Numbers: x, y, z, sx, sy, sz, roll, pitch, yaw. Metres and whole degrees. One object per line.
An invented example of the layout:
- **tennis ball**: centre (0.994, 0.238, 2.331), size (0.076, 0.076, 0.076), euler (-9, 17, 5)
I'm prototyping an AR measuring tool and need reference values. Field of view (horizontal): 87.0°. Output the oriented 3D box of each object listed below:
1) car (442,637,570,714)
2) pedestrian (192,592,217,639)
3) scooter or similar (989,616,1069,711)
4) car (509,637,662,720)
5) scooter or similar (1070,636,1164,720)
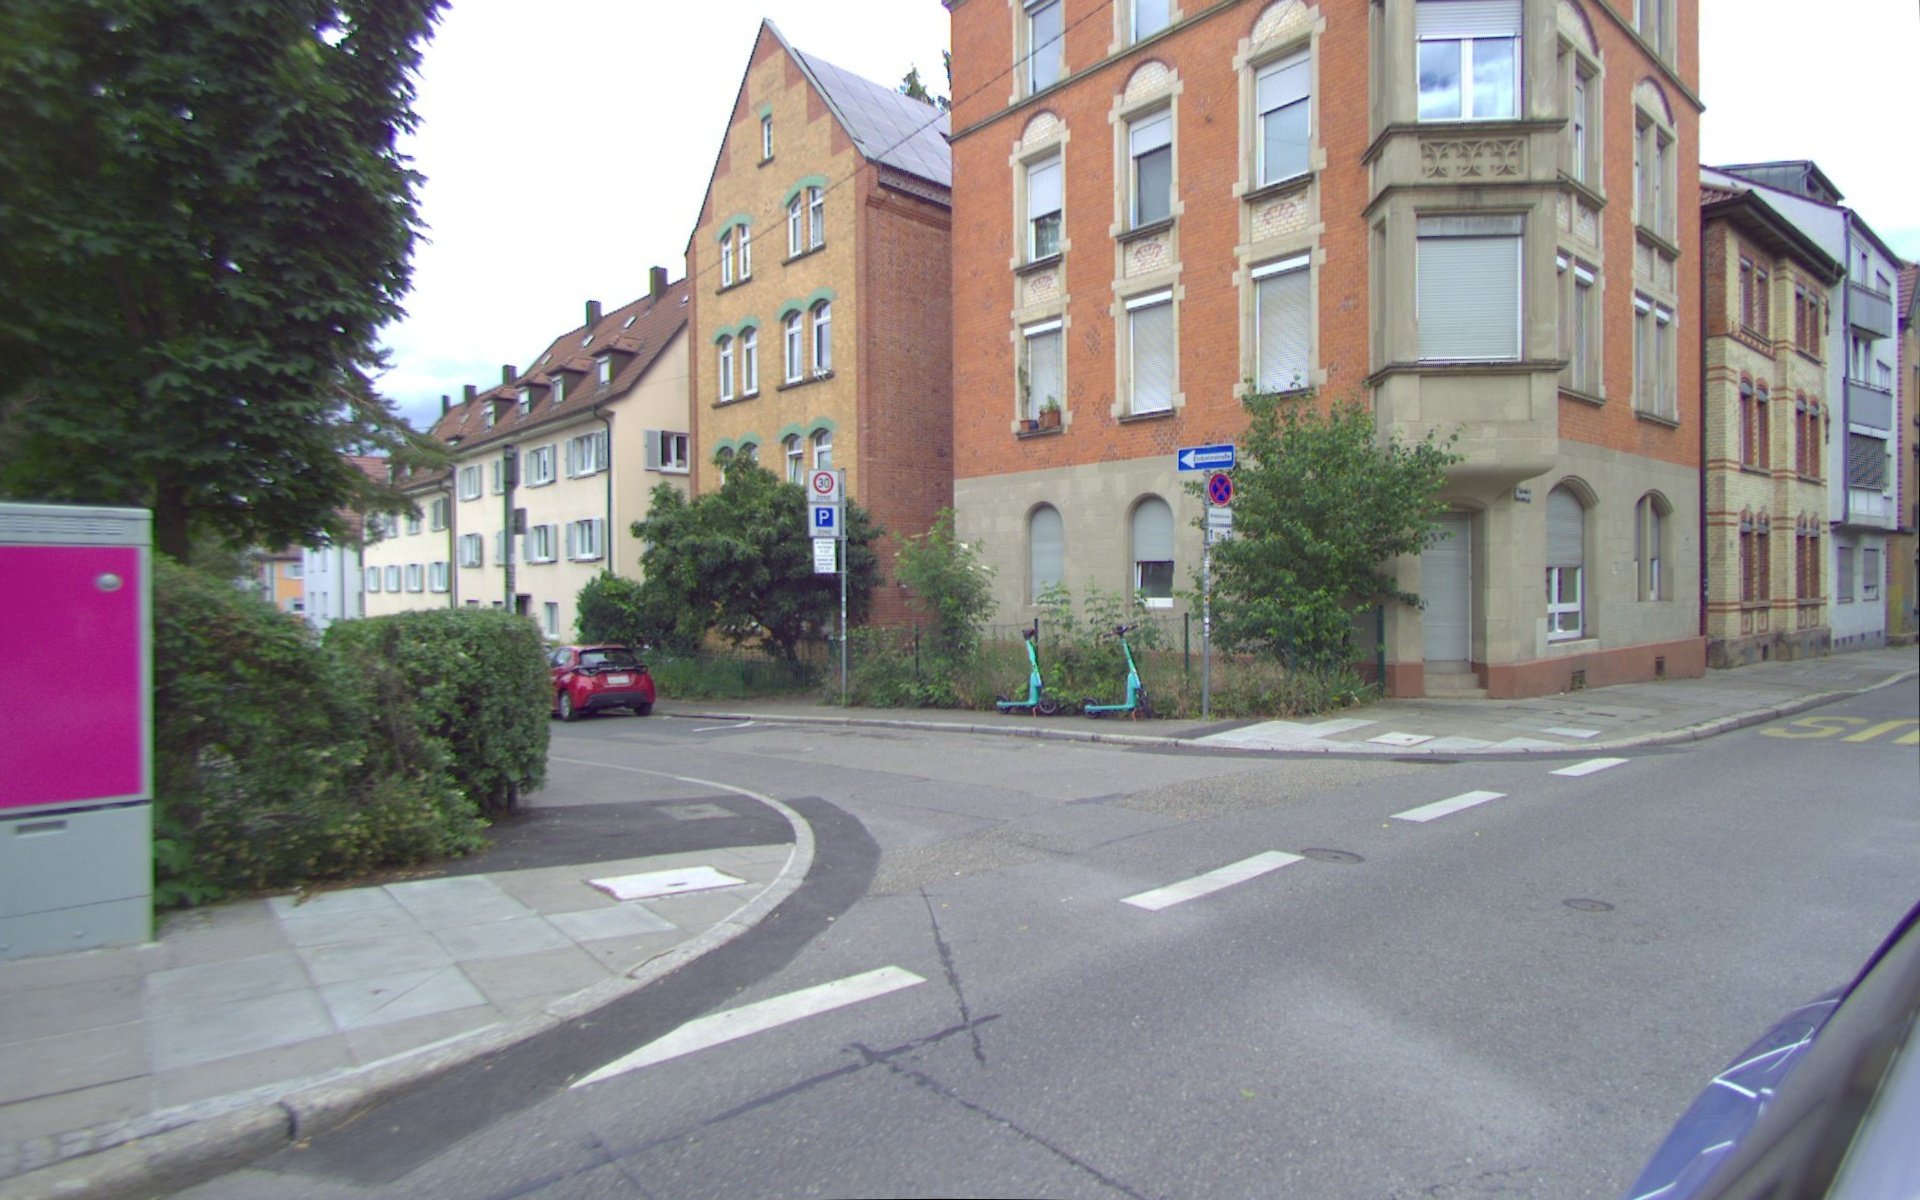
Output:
- **car**: centre (-10.892, 1.828, 24.147), size (1.748, 1.632, 3.746), euler (0, -4, -41)
- **pedestrian**: centre (-32.811, 0.669, 43.968), size (0.865, 2.039, 0.722), euler (0, -2, -38)
- **scooter or similar**: centre (0.980, 0.924, 14.553), size (0.408, 1.287, 1.086), euler (-4, -2, -41)
- **car**: centre (-7.832, 1.566, 20.990), size (1.748, 1.467, 3.747), euler (-2, -1, -41)
- **scooter or similar**: centre (2.055, 1.007, 13.377), size (0.408, 1.029, 1.236), euler (-1, -1, -41)
